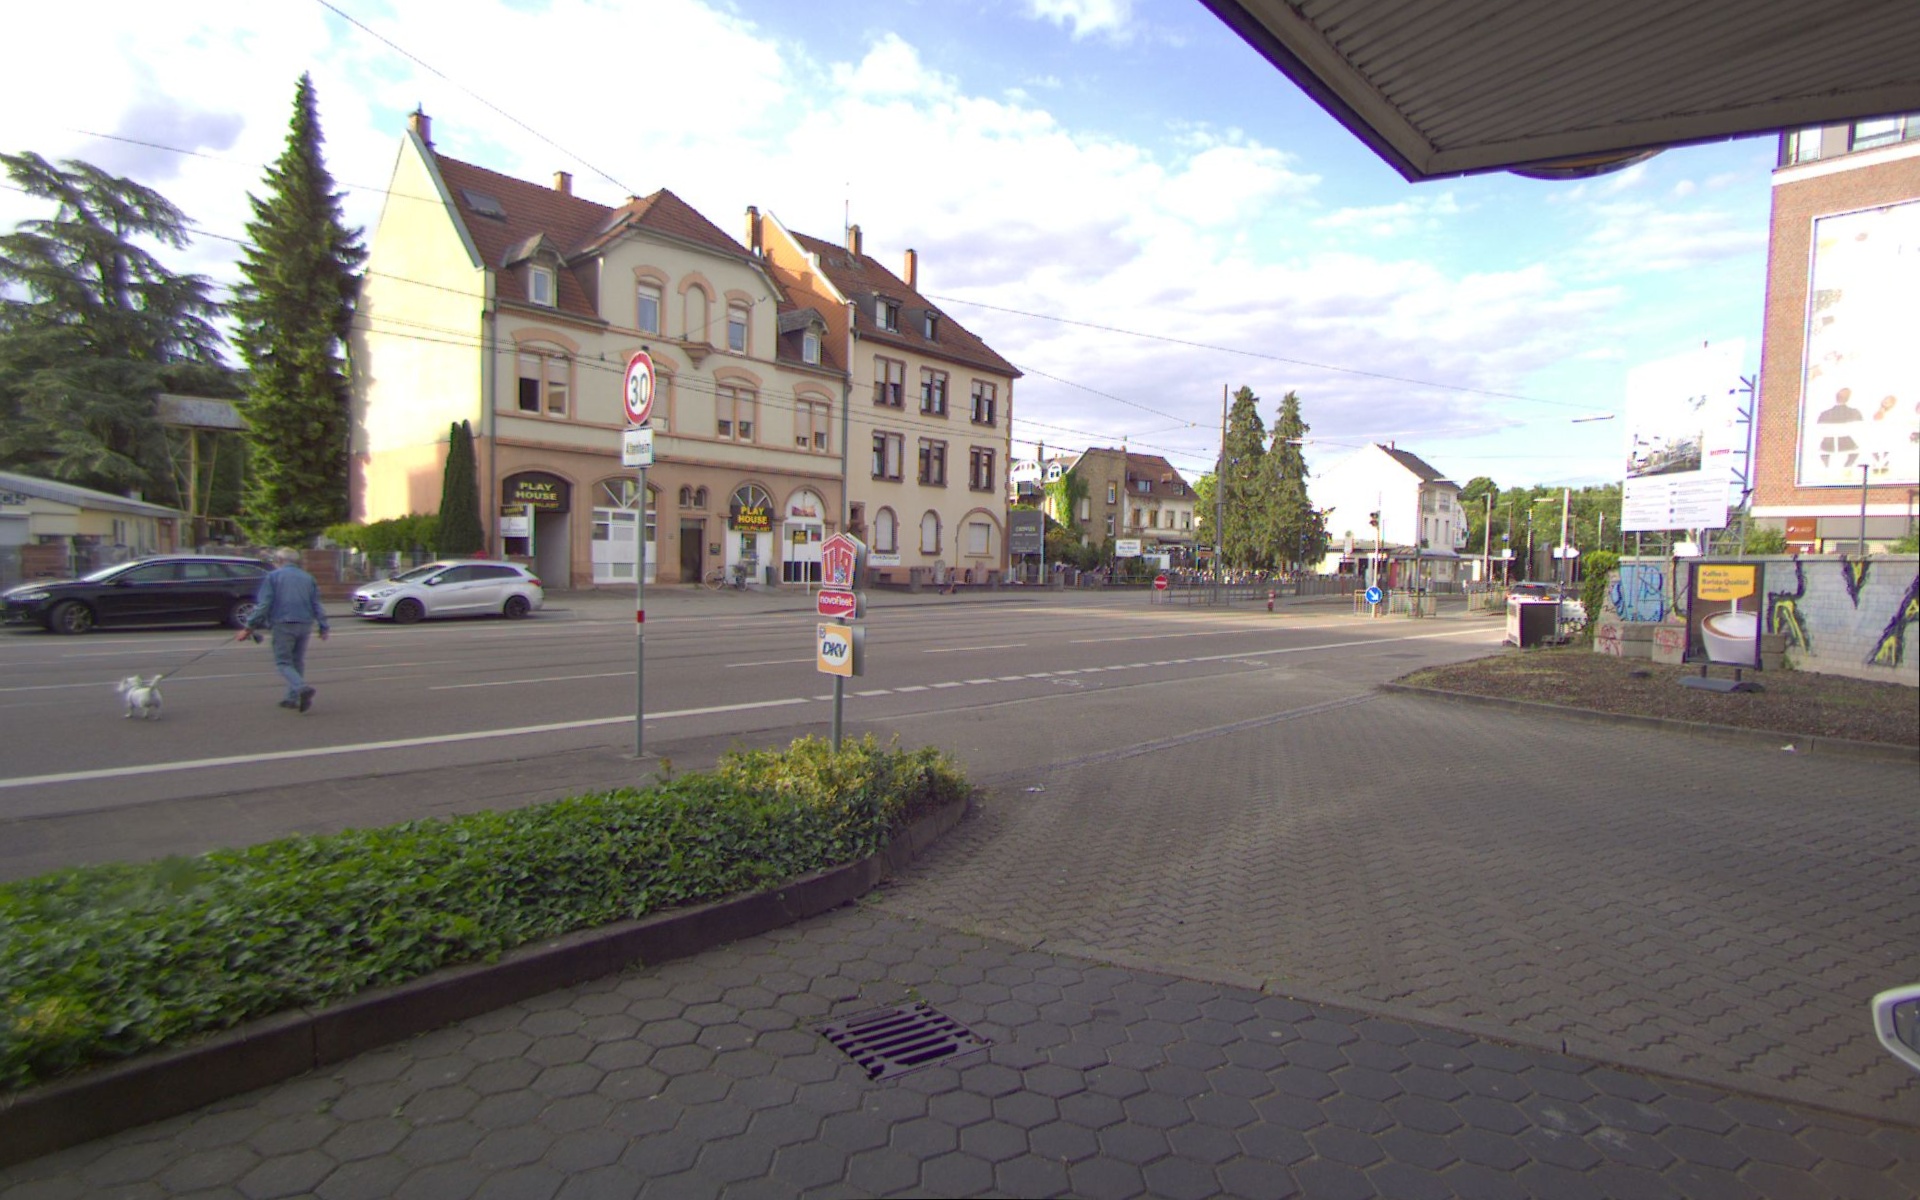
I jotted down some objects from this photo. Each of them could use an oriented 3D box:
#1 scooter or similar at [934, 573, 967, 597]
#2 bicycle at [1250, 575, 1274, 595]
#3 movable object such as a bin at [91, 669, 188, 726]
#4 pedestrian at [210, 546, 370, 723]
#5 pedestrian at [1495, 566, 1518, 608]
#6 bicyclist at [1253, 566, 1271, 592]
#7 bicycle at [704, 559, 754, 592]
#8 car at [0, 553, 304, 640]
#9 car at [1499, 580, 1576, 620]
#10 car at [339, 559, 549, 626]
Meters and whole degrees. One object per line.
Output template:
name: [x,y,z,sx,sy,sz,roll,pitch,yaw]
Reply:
scooter or similar: [-0.428,-0.666,45.113,0.461,1.041,1.655,4,3,40]
bicycle: [18.790,-0.938,62.488,0.670,1.239,1.909,2,2,41]
movable object such as a bin: [-7.990,0.939,9.791,0.667,0.426,0.480,4,5,24]
pedestrian: [-6.944,0.310,10.450,0.952,1.691,1.003,4,4,21]
pedestrian: [27.238,-0.640,50.081,0.797,2.040,0.846,2,0,41]
bicyclist: [18.800,-1.307,62.477,0.670,1.555,1.079,2,2,41]
bicycle: [-9.099,-0.957,39.611,0.665,1.229,1.862,4,2,41]
car: [-16.592,-0.140,20.735,1.983,1.520,4.755,4,4,39]
car: [23.878,-0.035,41.473,1.730,1.488,4.543,4,3,43]
car: [-12.912,-0.236,25.357,1.699,1.503,4.434,4,4,40]
